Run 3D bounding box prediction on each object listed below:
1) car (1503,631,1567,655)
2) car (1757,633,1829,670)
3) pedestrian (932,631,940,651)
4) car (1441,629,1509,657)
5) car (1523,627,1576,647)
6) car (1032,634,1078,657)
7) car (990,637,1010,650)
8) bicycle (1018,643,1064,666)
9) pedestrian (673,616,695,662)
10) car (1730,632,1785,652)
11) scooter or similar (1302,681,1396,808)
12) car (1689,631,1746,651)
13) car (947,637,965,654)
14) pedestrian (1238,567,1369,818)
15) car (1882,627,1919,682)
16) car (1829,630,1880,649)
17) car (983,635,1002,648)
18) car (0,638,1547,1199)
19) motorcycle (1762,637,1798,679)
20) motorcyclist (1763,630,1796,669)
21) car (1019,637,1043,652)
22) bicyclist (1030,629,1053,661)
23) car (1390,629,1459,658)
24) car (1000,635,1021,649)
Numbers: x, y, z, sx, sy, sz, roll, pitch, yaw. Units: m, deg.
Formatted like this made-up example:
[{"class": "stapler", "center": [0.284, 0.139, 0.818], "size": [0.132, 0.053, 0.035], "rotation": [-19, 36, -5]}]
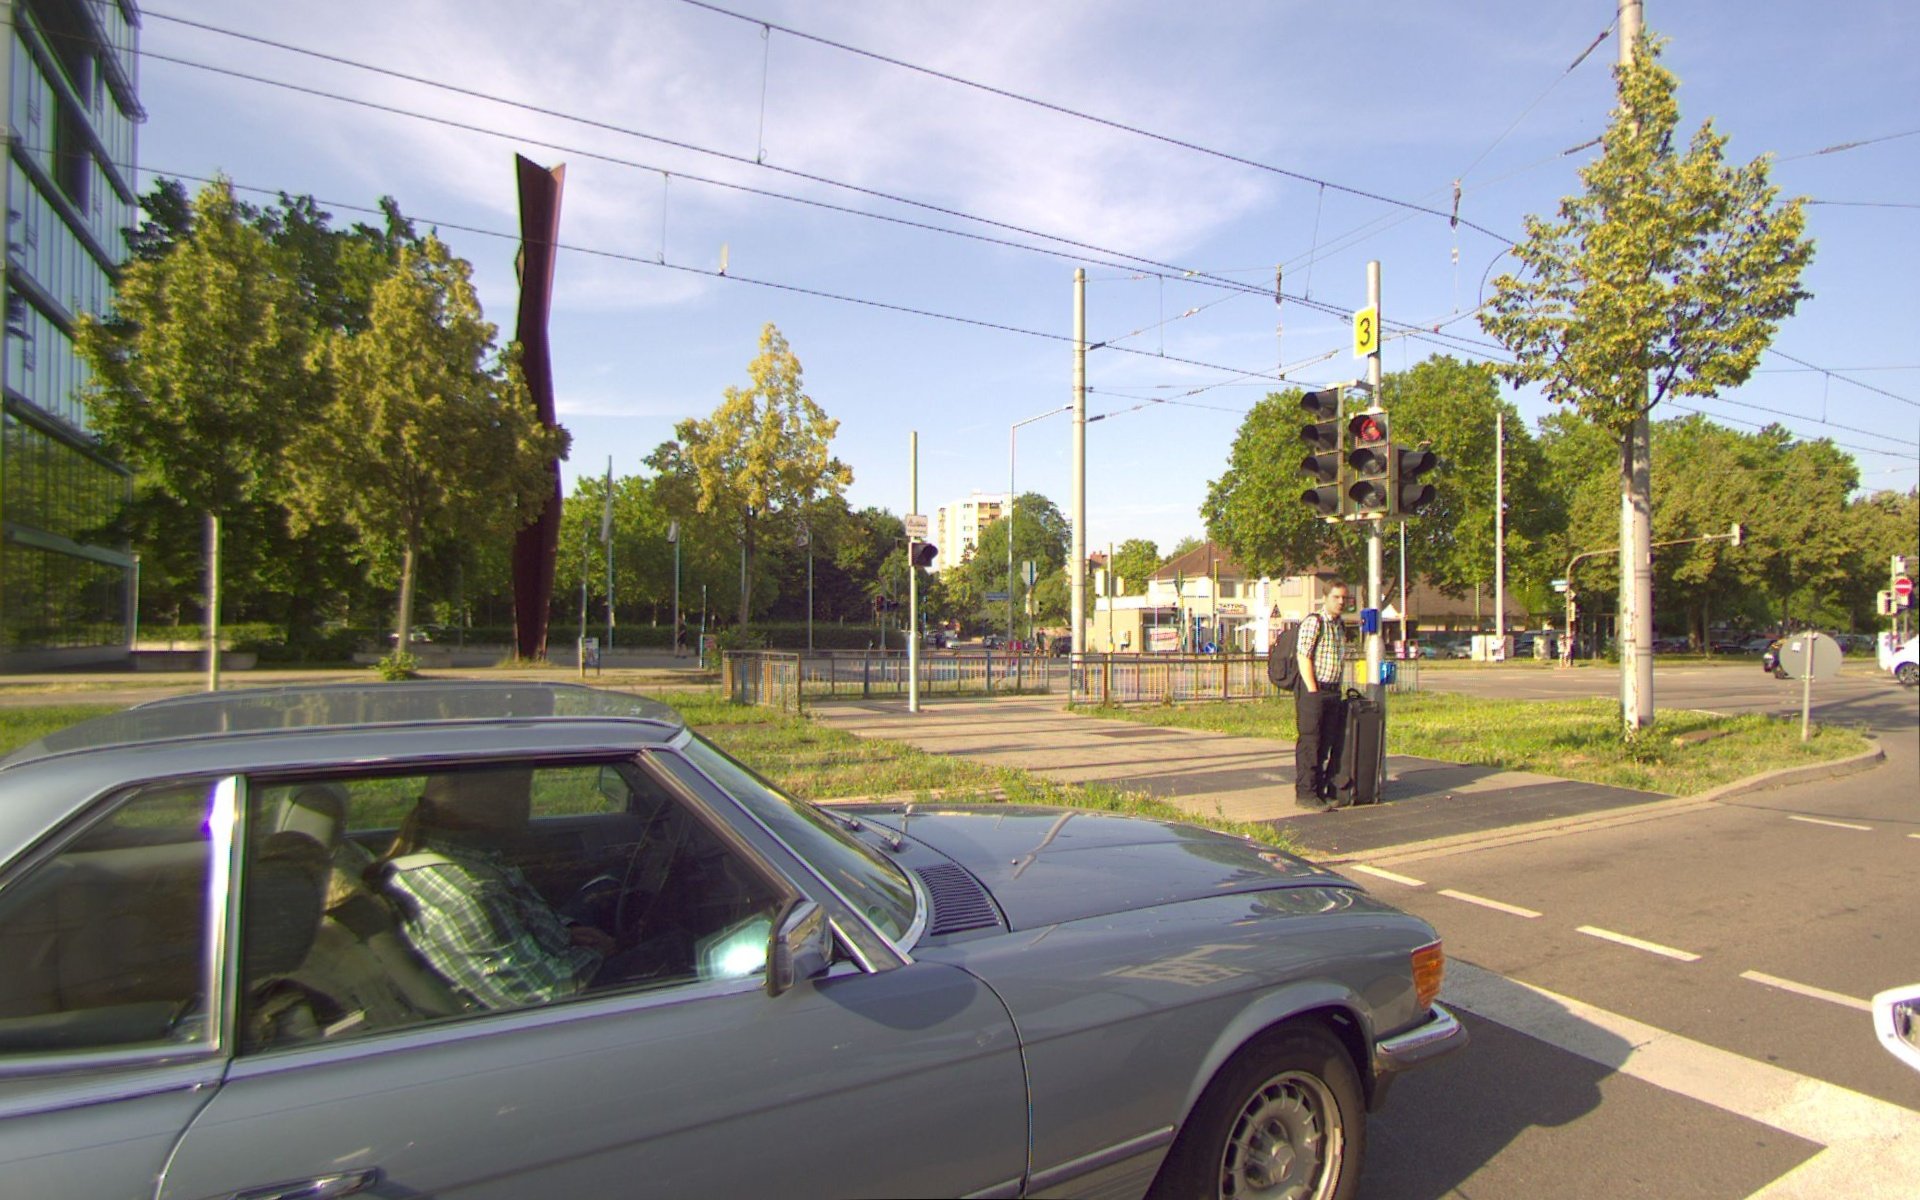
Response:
[{"class": "car", "center": [38.822, 2.930, 67.829], "size": [3.945, 1.580, 1.876], "rotation": [1, -2, -25]}, {"class": "car", "center": [35.099, 2.172, 42.286], "size": [4.541, 1.480, 1.713], "rotation": [3, -3, -42]}, {"class": "pedestrian", "center": [-2.011, 3.466, 84.312], "size": [0.654, 1.654, 0.664], "rotation": [0, -1, -2]}, {"class": "car", "center": [33.435, 2.767, 65.214], "size": [3.945, 1.773, 1.876], "rotation": [1, -2, -25]}, {"class": "car", "center": [47.873, 3.043, 81.581], "size": [3.945, 1.580, 1.876], "rotation": [1, -2, -25]}, {"class": "car", "center": [7.453, 3.555, 79.246], "size": [1.971, 1.750, 3.979], "rotation": [1, -2, -22]}, {"class": "car", "center": [4.664, 5.101, 117.660], "size": [1.667, 1.491, 3.941], "rotation": [0, -2, -8]}, {"class": "bicycle", "center": [3.850, 2.575, 47.735], "size": [2.168, 1.055, 0.697], "rotation": [-1, -2, 38]}, {"class": "pedestrian", "center": [-13.032, 1.835, 47.418], "size": [0.864, 2.135, 0.724], "rotation": [-1, -3, -1]}, {"class": "car", "center": [63.605, 3.321, 80.093], "size": [3.945, 1.580, 1.876], "rotation": [1, -2, -25]}, {"class": "scooter or similar", "center": [3.084, 1.125, 7.973], "size": [0.424, 0.919, 0.546], "rotation": [1, 0, -29]}, {"class": "car", "center": [58.620, 3.173, 77.735], "size": [3.945, 1.580, 1.876], "rotation": [1, -2, -25]}, {"class": "car", "center": [-0.425, 5.131, 113.633], "size": [1.961, 1.806, 4.000], "rotation": [0, -2, -1]}, {"class": "pedestrian", "center": [2.627, 0.673, 7.711], "size": [0.628, 1.816, 0.696], "rotation": [1, 0, -29]}, {"class": "car", "center": [27.791, 1.527, 26.951], "size": [1.968, 1.524, 4.078], "rotation": [1, -1, -17]}, {"class": "car", "center": [76.689, 3.353, 86.099], "size": [3.945, 1.580, 1.876], "rotation": [1, -2, -25]}, {"class": "car", "center": [3.957, 5.059, 123.448], "size": [1.667, 1.491, 3.941], "rotation": [0, -2, -8]}, {"class": "car", "center": [-0.796, 0.817, 2.218], "size": [4.349, 1.348, 1.754], "rotation": [1, 0, -31]}, {"class": "motorcycle", "center": [27.124, 1.903, 33.259], "size": [0.808, 1.280, 2.539], "rotation": [1, 0, 37]}, {"class": "motorcyclist", "center": [27.125, 1.618, 33.242], "size": [0.772, 1.219, 0.844], "rotation": [1, 1, 36]}, {"class": "car", "center": [7.052, 4.449, 100.318], "size": [1.667, 1.491, 3.941], "rotation": [0, -2, -8]}, {"class": "bicyclist", "center": [3.865, 2.115, 47.738], "size": [0.836, 1.512, 0.697], "rotation": [-1, -2, 38]}, {"class": "car", "center": [29.211, 2.715, 63.139], "size": [3.945, 1.773, 1.876], "rotation": [1, -2, -25]}, {"class": "car", "center": [5.578, 4.696, 111.831], "size": [1.667, 1.491, 3.941], "rotation": [0, -2, -8]}]
